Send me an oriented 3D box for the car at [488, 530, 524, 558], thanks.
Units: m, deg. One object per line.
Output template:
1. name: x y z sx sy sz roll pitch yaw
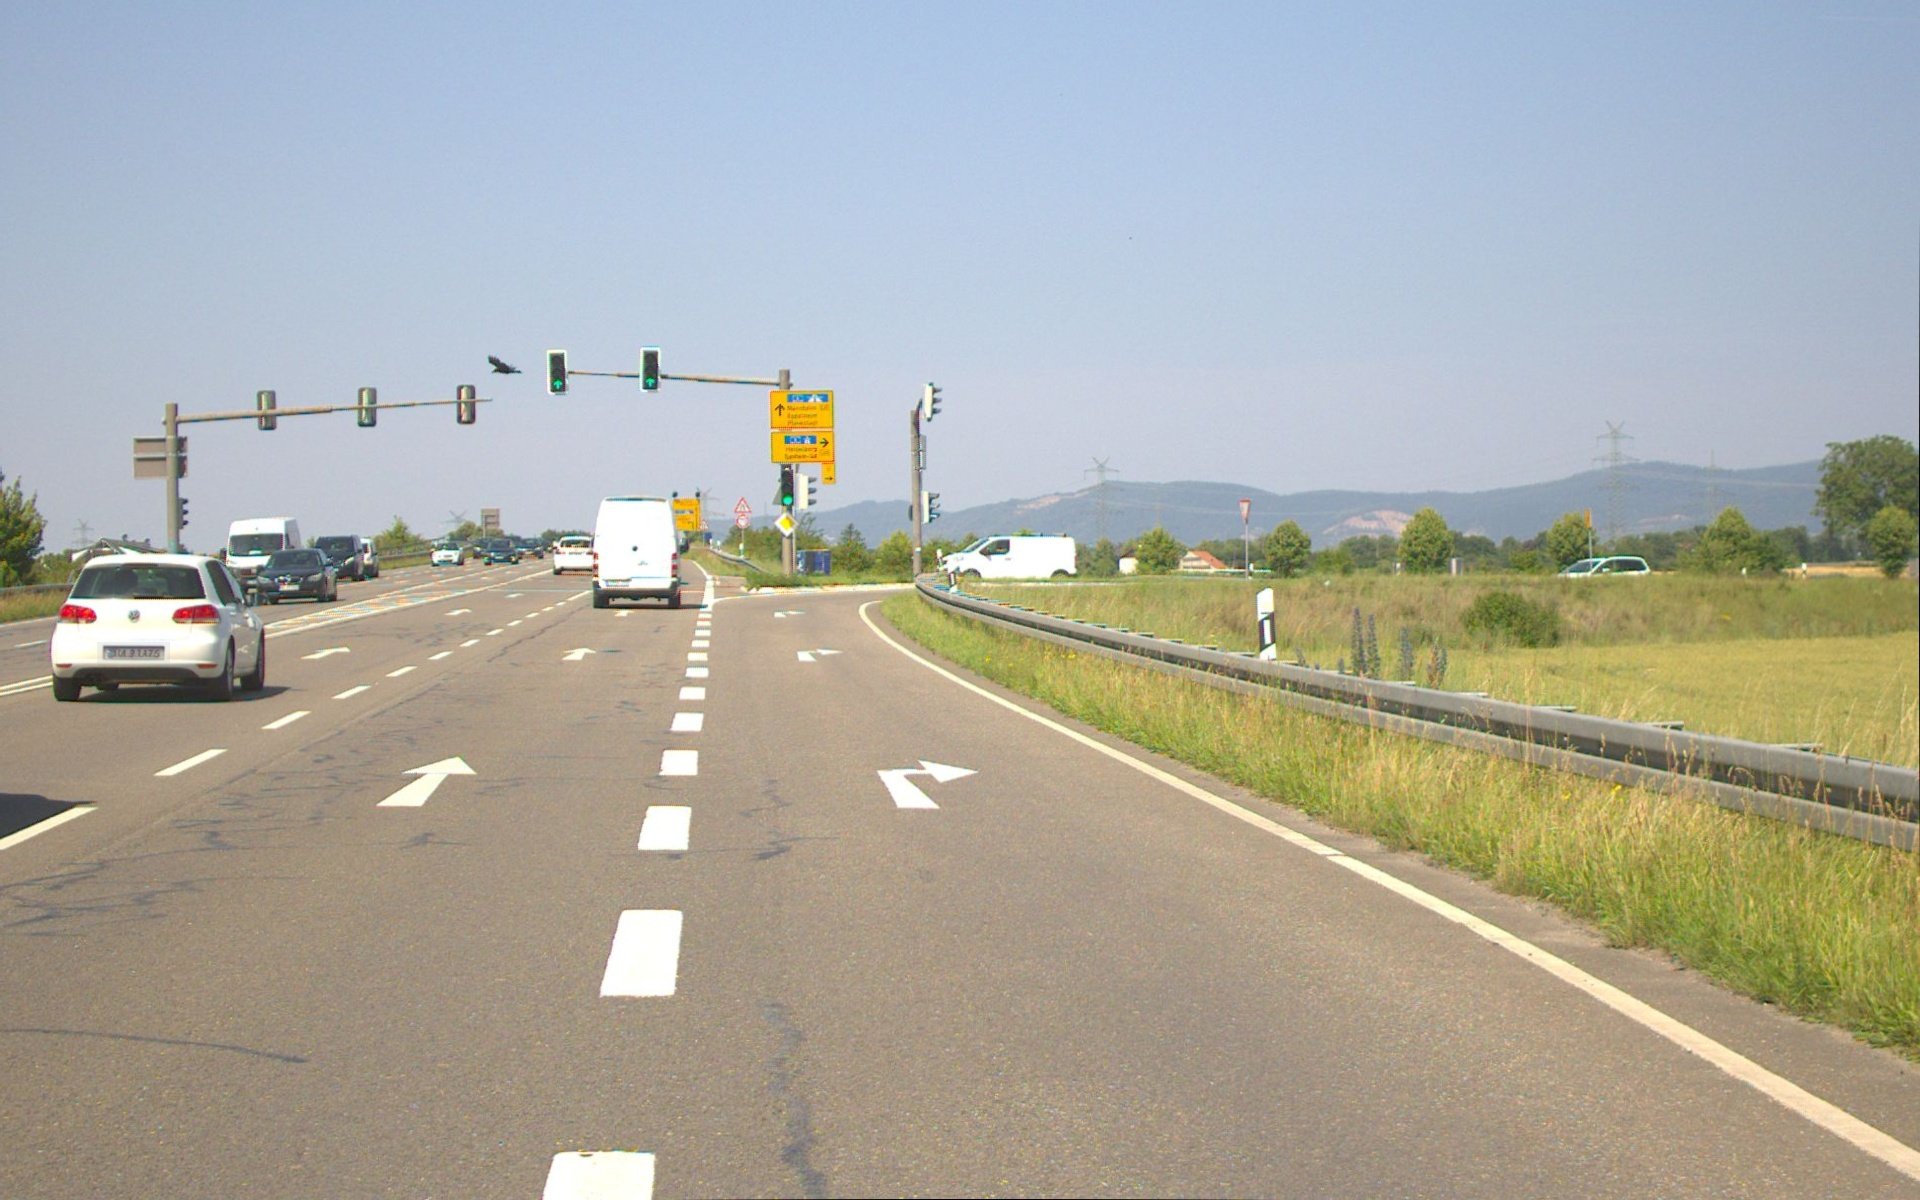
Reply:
1. car: -26.492 -3.260 200.652 1.635 1.481 4.000 1 0 -1

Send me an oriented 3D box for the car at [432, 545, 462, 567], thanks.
1. car: -30.887 -2.629 206.972 1.462 1.269 3.333 0 0 -3

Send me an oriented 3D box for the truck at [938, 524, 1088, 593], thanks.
1. truck: 1.860 -1.444 121.075 4.842 2.312 2.001 1 0 -18

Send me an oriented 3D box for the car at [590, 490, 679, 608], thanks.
1. car: -7.616 -1.186 80.717 1.993 2.686 4.970 0 0 -4

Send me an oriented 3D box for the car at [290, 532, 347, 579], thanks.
1. car: -26.352 -1.814 141.305 1.873 1.881 3.333 0 0 -3

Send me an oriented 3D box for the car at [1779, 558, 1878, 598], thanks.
1. car: 33.381 -0.844 132.142 3.472 1.481 1.650 1 0 -28

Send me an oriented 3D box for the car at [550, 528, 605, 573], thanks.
1. car: -15.455 -1.980 139.072 1.993 1.697 4.275 1 0 -4

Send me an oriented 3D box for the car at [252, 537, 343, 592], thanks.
1. car: -17.716 -0.927 92.123 1.857 1.418 4.000 0 0 -3

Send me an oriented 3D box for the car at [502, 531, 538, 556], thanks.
1. car: -29.943 -3.820 234.006 1.993 1.612 4.000 1 0 0

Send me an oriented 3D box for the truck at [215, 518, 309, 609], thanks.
1. truck: -23.216 -1.178 114.524 2.296 2.947 5.283 0 0 -3

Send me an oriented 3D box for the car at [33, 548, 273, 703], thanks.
1. car: -8.283 0.213 35.593 1.799 1.503 4.197 0 1 -4
